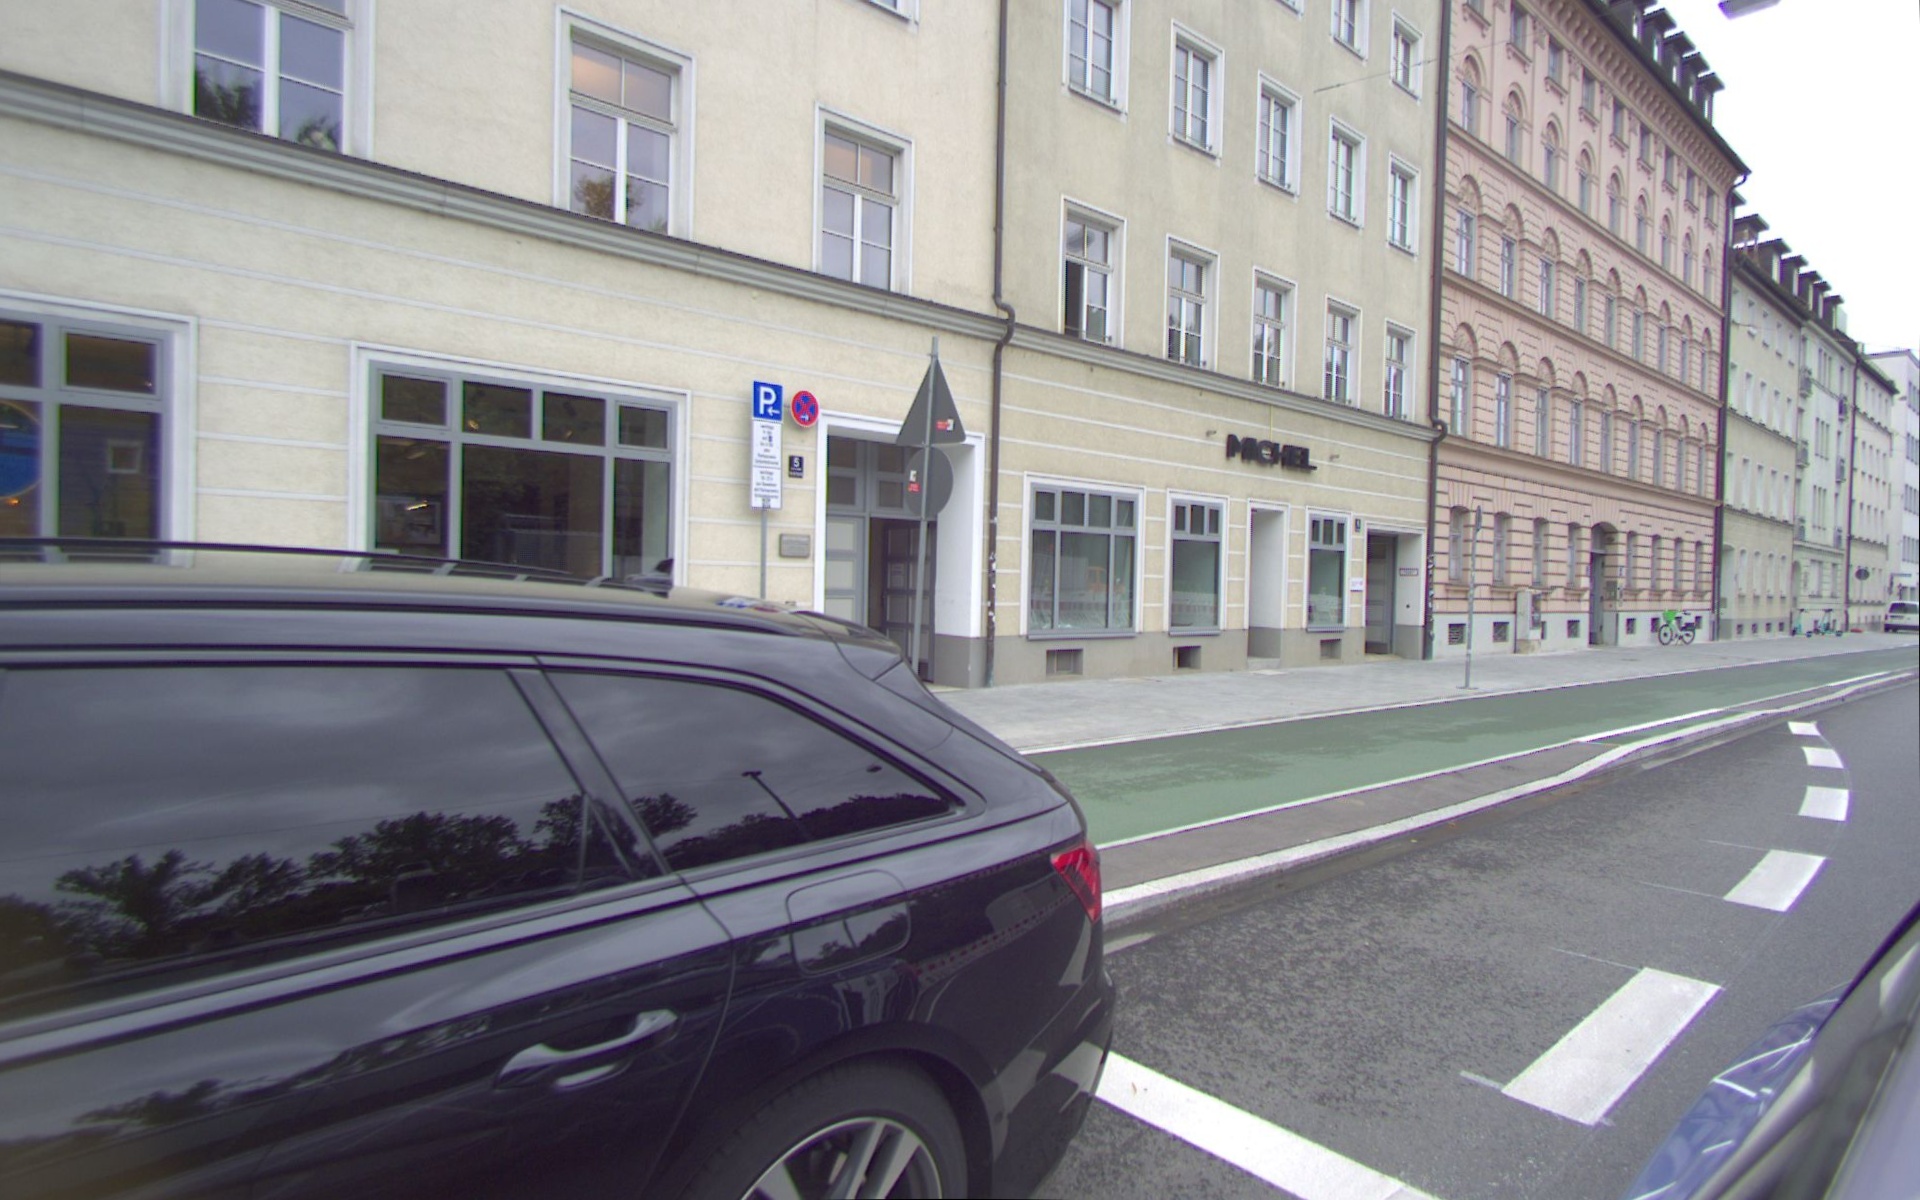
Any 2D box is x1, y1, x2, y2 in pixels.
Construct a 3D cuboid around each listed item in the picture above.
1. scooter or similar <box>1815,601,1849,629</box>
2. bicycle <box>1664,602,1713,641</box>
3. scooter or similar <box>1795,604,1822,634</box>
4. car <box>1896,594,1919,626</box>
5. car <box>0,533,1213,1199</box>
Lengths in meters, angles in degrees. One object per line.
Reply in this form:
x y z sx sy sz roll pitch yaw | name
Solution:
40.625 0.705 47.145 1.105 1.246 0.246 3 2 18 | scooter or similar
23.325 0.689 32.395 1.695 1.188 0.428 1 1 -23 | bicycle
37.011 0.826 44.127 1.096 1.246 0.248 2 2 -14 | scooter or similar
54.781 0.602 57.498 4.356 1.771 1.738 1 2 -40 | car
-1.773 0.649 1.311 4.607 1.498 1.805 1 3 -43 | car
